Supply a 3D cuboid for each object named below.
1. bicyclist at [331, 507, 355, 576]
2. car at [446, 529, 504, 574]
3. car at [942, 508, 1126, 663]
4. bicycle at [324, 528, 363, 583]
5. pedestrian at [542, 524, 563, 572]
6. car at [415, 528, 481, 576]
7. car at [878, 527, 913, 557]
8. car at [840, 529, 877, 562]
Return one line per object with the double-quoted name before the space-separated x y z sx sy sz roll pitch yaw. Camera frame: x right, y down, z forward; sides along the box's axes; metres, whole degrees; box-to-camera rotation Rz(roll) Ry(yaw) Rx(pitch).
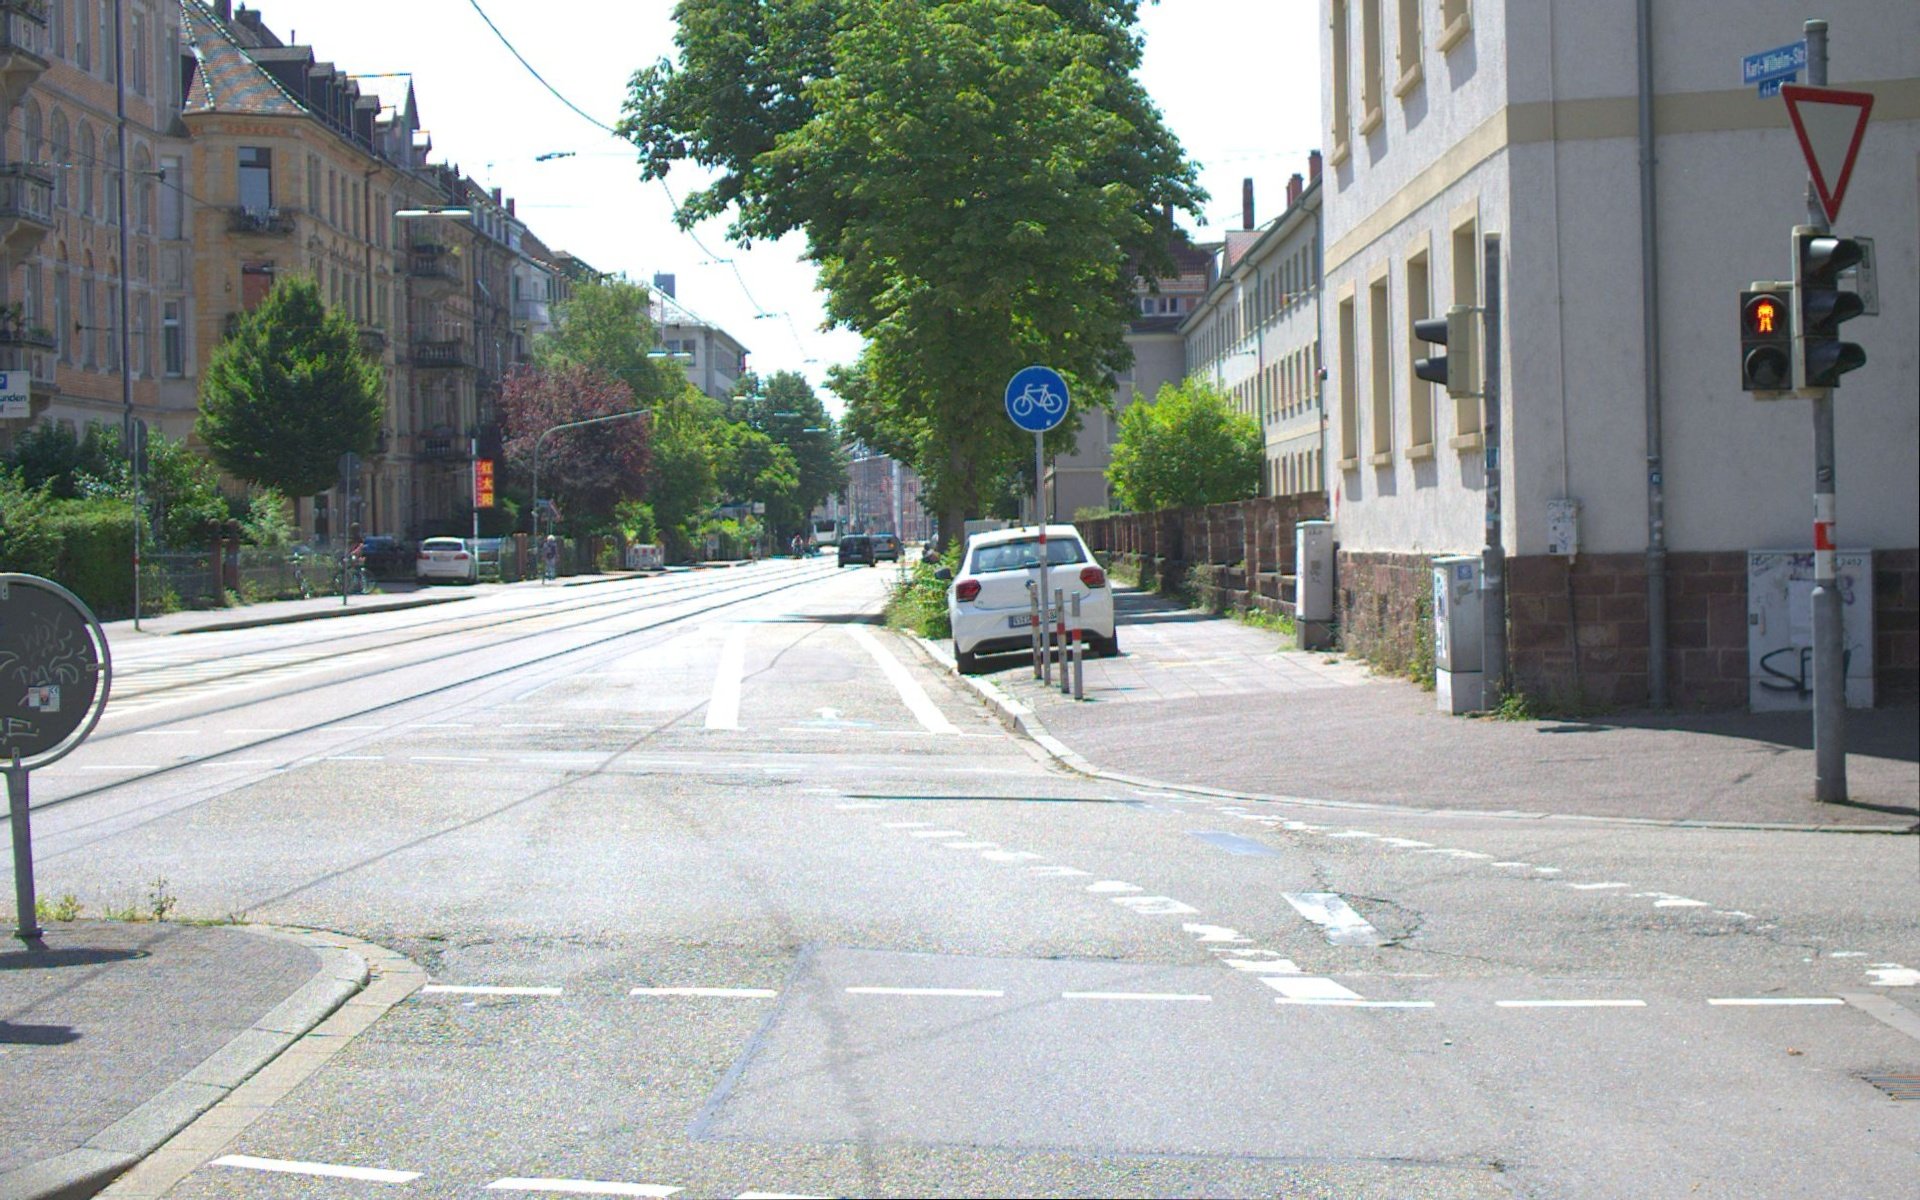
"bicyclist" -15.766 -1.485 87.854 0.542 1.757 0.498 0 1 -1
"car" -17.445 -1.740 123.751 1.628 1.467 3.564 -4 1 -3
"car" 0.750 -0.173 37.187 1.747 1.467 3.938 -4 1 -1
"bicycle" -15.756 -1.138 87.961 0.577 1.383 2.501 0 1 -1
"pedestrian" -14.647 -1.887 123.703 0.678 1.721 0.677 0 1 -1
"car" -17.195 -1.611 115.597 1.684 1.467 3.939 -4 1 -3
"car" -3.403 -3.096 183.055 1.747 1.467 3.938 -4 1 -1
"car" -4.644 -2.484 156.902 1.525 1.439 3.365 -2 1 0
